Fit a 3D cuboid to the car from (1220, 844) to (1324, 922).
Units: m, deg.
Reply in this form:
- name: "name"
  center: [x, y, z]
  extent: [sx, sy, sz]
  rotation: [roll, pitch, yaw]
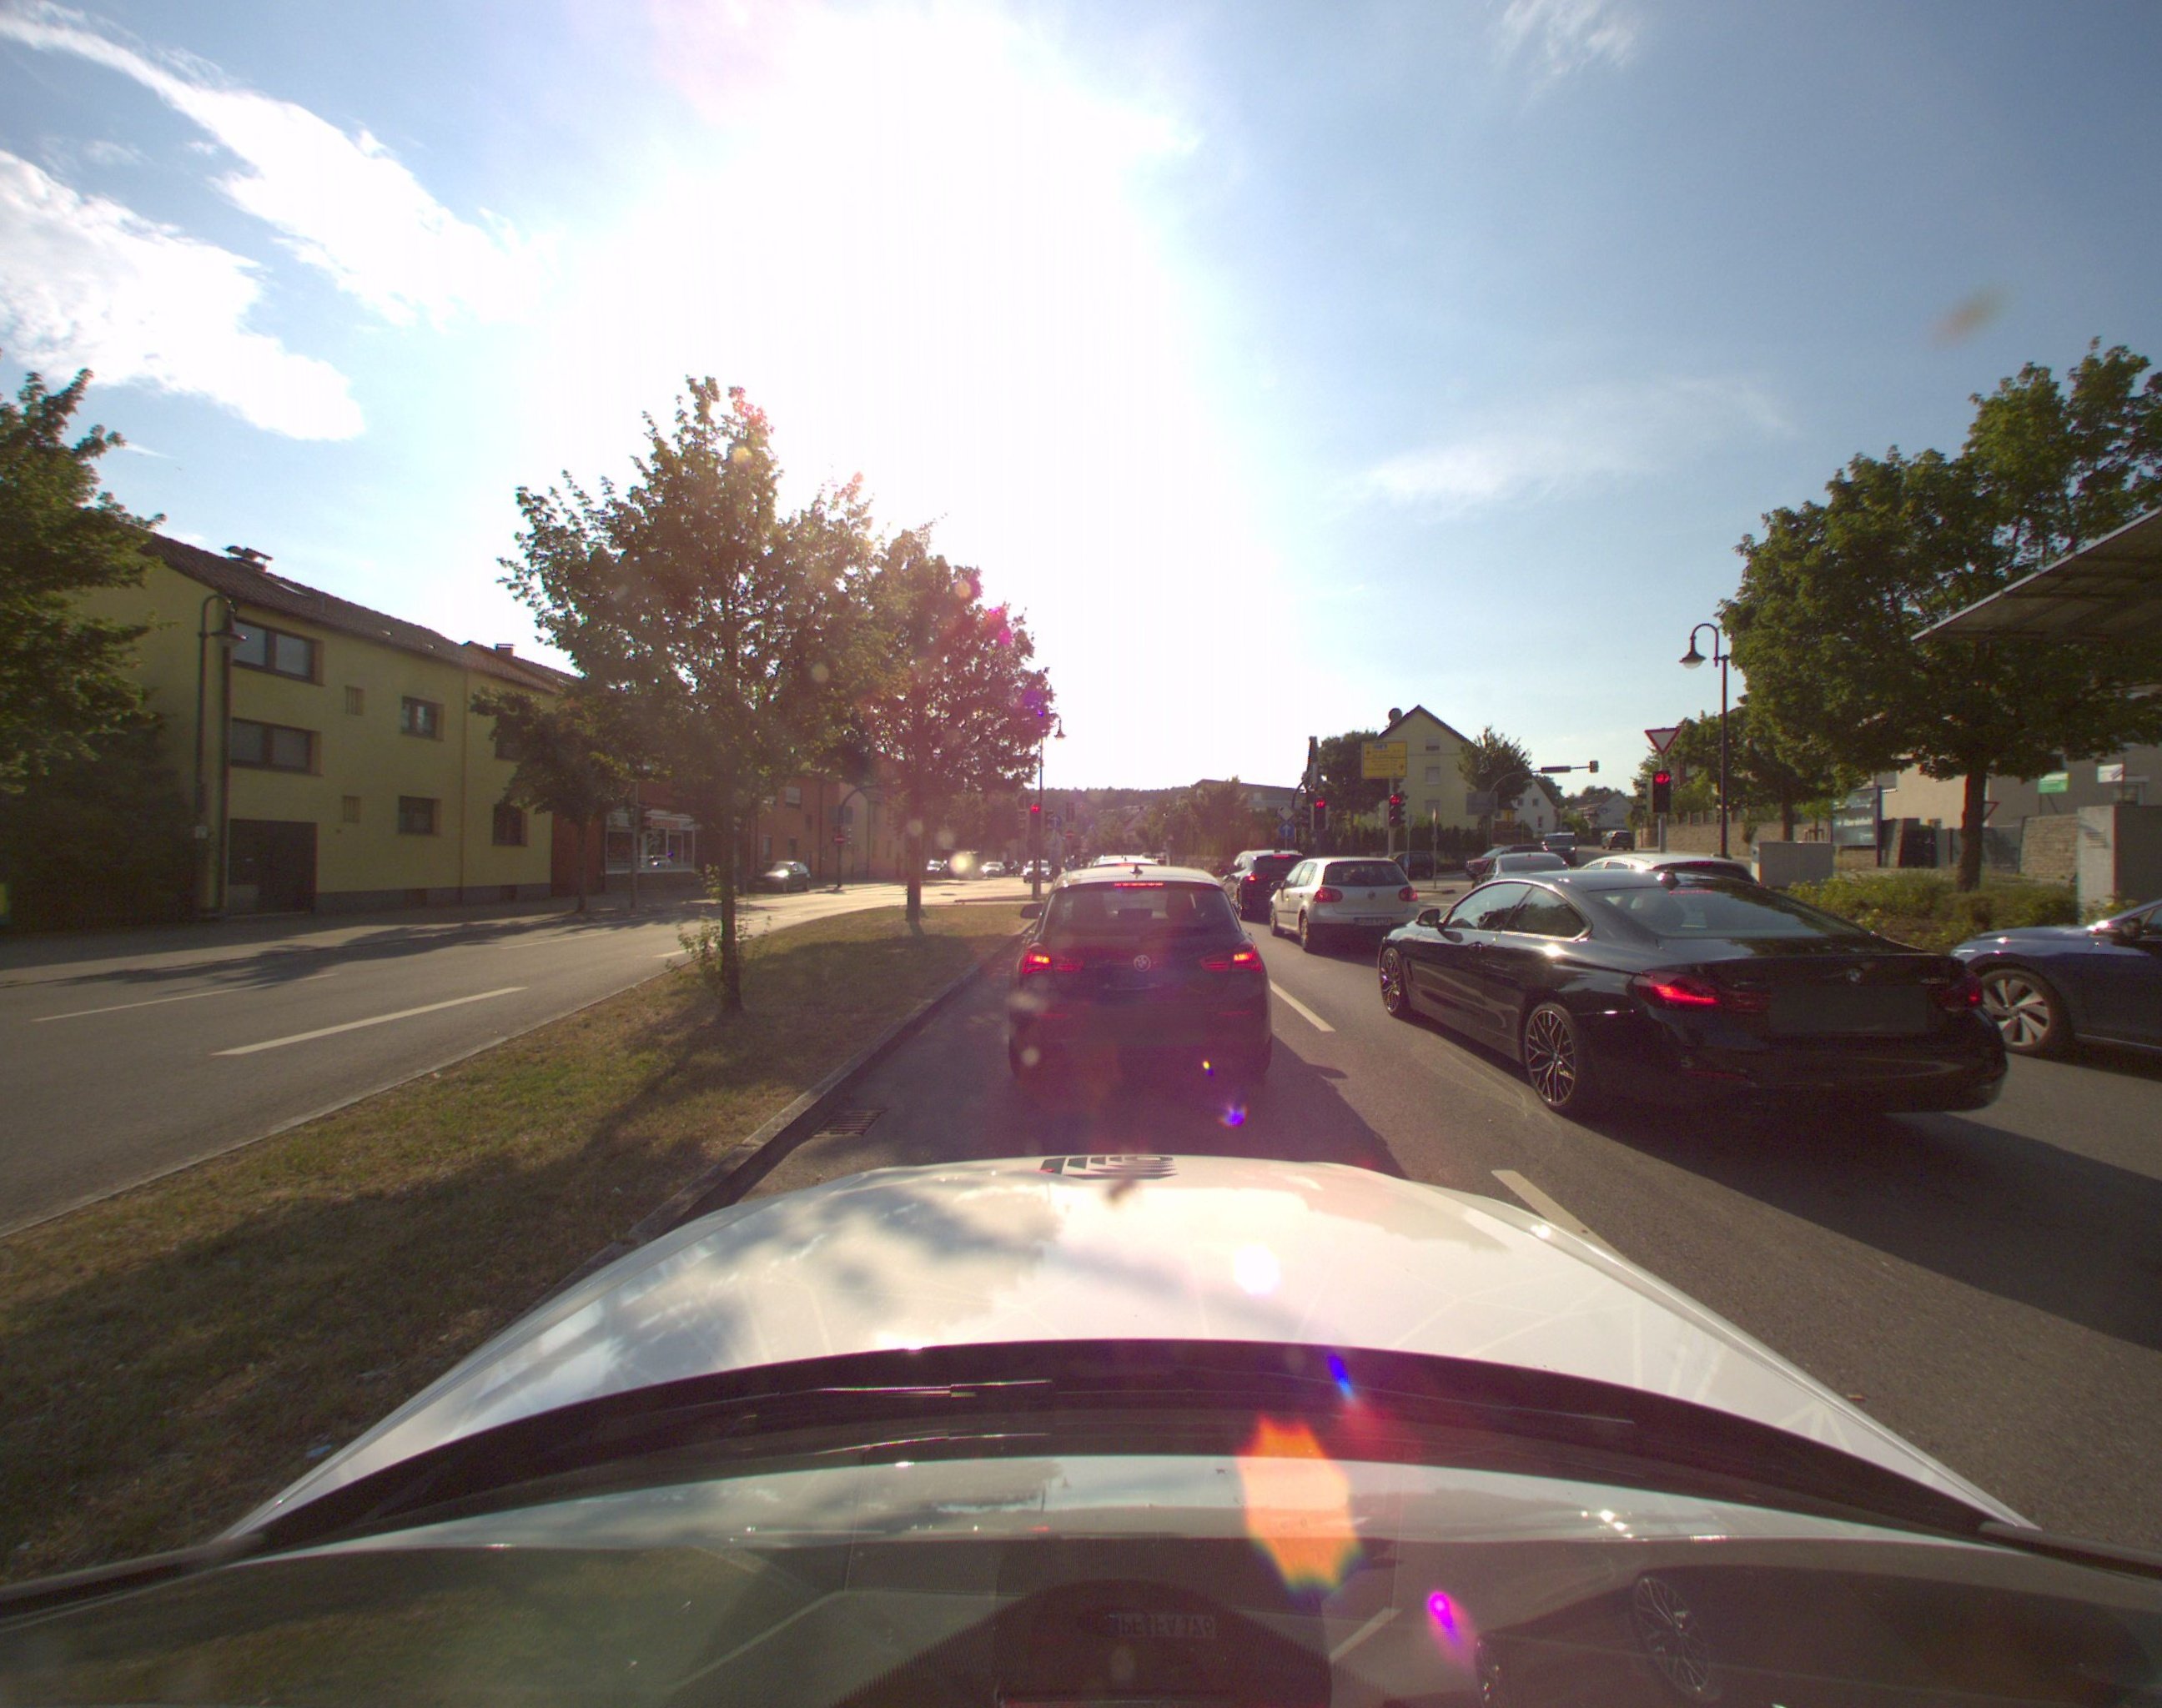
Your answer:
- name: "car"
  center: [4.573, 0.647, 20.050]
  extent: [1.755, 1.656, 3.905]
  rotation: [-2, 0, 2]

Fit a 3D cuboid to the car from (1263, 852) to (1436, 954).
- name: "car"
  center: [4.325, 0.713, 13.768]
  extent: [1.755, 1.426, 3.905]
  rotation: [-2, 0, 2]

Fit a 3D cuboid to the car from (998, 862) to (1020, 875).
- name: "car"
  center: [-7.809, 1.589, 88.842]
  extent: [1.729, 1.301, 3.804]
  rotation: [4, 0, 5]

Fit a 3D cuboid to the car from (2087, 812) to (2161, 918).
- name: "car"
  center: [18.496, 0.156, 12.389]
  extent: [3.793, 1.632, 1.784]
  rotation: [0, 0, 10]

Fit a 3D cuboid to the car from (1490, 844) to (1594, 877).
- name: "car"
  center: [23.359, 0.319, 41.318]
  extent: [4.417, 1.641, 1.842]
  rotation: [0, 0, -10]

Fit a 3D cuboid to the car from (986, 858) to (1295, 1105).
- name: "car"
  center: [0.444, 0.770, 6.973]
  extent: [1.781, 1.397, 4.283]
  rotation: [-2, 0, 2]

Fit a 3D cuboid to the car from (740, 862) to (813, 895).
- name: "car"
  center: [-14.133, 1.110, 38.039]
  extent: [1.730, 1.301, 4.002]
  rotation: [4, 0, 2]

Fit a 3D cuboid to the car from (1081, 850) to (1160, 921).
- name: "car"
  center: [1.024, 0.738, 21.156]
  extent: [1.781, 1.594, 4.283]
  rotation: [-2, 0, 2]

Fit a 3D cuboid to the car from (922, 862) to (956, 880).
- name: "car"
  center: [-11.736, 1.420, 67.601]
  extent: [1.728, 1.301, 4.006]
  rotation: [4, 0, 6]

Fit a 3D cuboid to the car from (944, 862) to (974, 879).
- name: "car"
  center: [-11.039, 1.465, 73.864]
  extent: [1.729, 1.301, 4.005]
  rotation: [4, 0, 5]

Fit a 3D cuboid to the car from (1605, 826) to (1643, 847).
- name: "car"
  center: [45.638, -1.455, 68.582]
  extent: [1.947, 1.680, 4.239]
  rotation: [-2, 0, 24]

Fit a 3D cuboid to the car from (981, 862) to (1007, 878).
- name: "car"
  center: [-8.284, 1.534, 77.997]
  extent: [1.729, 1.301, 3.804]
  rotation: [4, 0, 5]

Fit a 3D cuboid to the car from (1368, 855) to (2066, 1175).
- name: "car"
  center: [3.622, 0.737, 5.828]
  extent: [1.755, 1.397, 4.283]
  rotation: [-2, 0, 2]

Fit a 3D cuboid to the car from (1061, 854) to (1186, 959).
- name: "car"
  center: [0.722, 0.777, 14.117]
  extent: [1.781, 1.494, 4.283]
  rotation: [-2, 0, 2]

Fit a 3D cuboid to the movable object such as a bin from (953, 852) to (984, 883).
- name: "movable object such as a bin"
  center: [-9.144, 1.103, 66.590]
  extent: [1.729, 2.442, 4.452]
  rotation: [-1, 0, 3]

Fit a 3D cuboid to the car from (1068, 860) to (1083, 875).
- name: "car"
  center: [-0.835, 2.205, 133.945]
  extent: [2.076, 2.394, 5.532]
  rotation: [0, 0, 3]

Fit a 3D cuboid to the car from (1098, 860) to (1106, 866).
- name: "car"
  center: [5.265, 2.248, 206.231]
  extent: [1.729, 1.301, 3.804]
  rotation: [4, 0, 5]

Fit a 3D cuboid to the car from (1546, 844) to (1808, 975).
- name: "car"
  center: [8.114, 0.669, 11.469]
  extent: [1.608, 1.542, 3.326]
  rotation: [-2, 0, 9]

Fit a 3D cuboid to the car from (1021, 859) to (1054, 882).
- name: "car"
  center: [-2.937, 1.130, 55.868]
  extent: [1.831, 1.482, 4.003]
  rotation: [-1, 0, 3]

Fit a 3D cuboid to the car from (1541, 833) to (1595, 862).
- name: "car"
  center: [30.840, -0.380, 51.512]
  extent: [1.825, 1.739, 4.812]
  rotation: [-1, 0, 45]

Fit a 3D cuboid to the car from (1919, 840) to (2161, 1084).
- name: "car"
  center: [7.405, 0.650, 4.257]
  extent: [1.754, 1.453, 4.323]
  rotation: [-2, 0, 4]

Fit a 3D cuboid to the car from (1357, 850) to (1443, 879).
- name: "car"
  center: [17.352, 0.568, 44.364]
  extent: [3.974, 1.489, 1.848]
  rotation: [0, 0, -1]

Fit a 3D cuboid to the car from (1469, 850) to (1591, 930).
- name: "car"
  center: [9.885, 0.711, 18.243]
  extent: [1.642, 1.542, 4.420]
  rotation: [-2, 0, 19]
